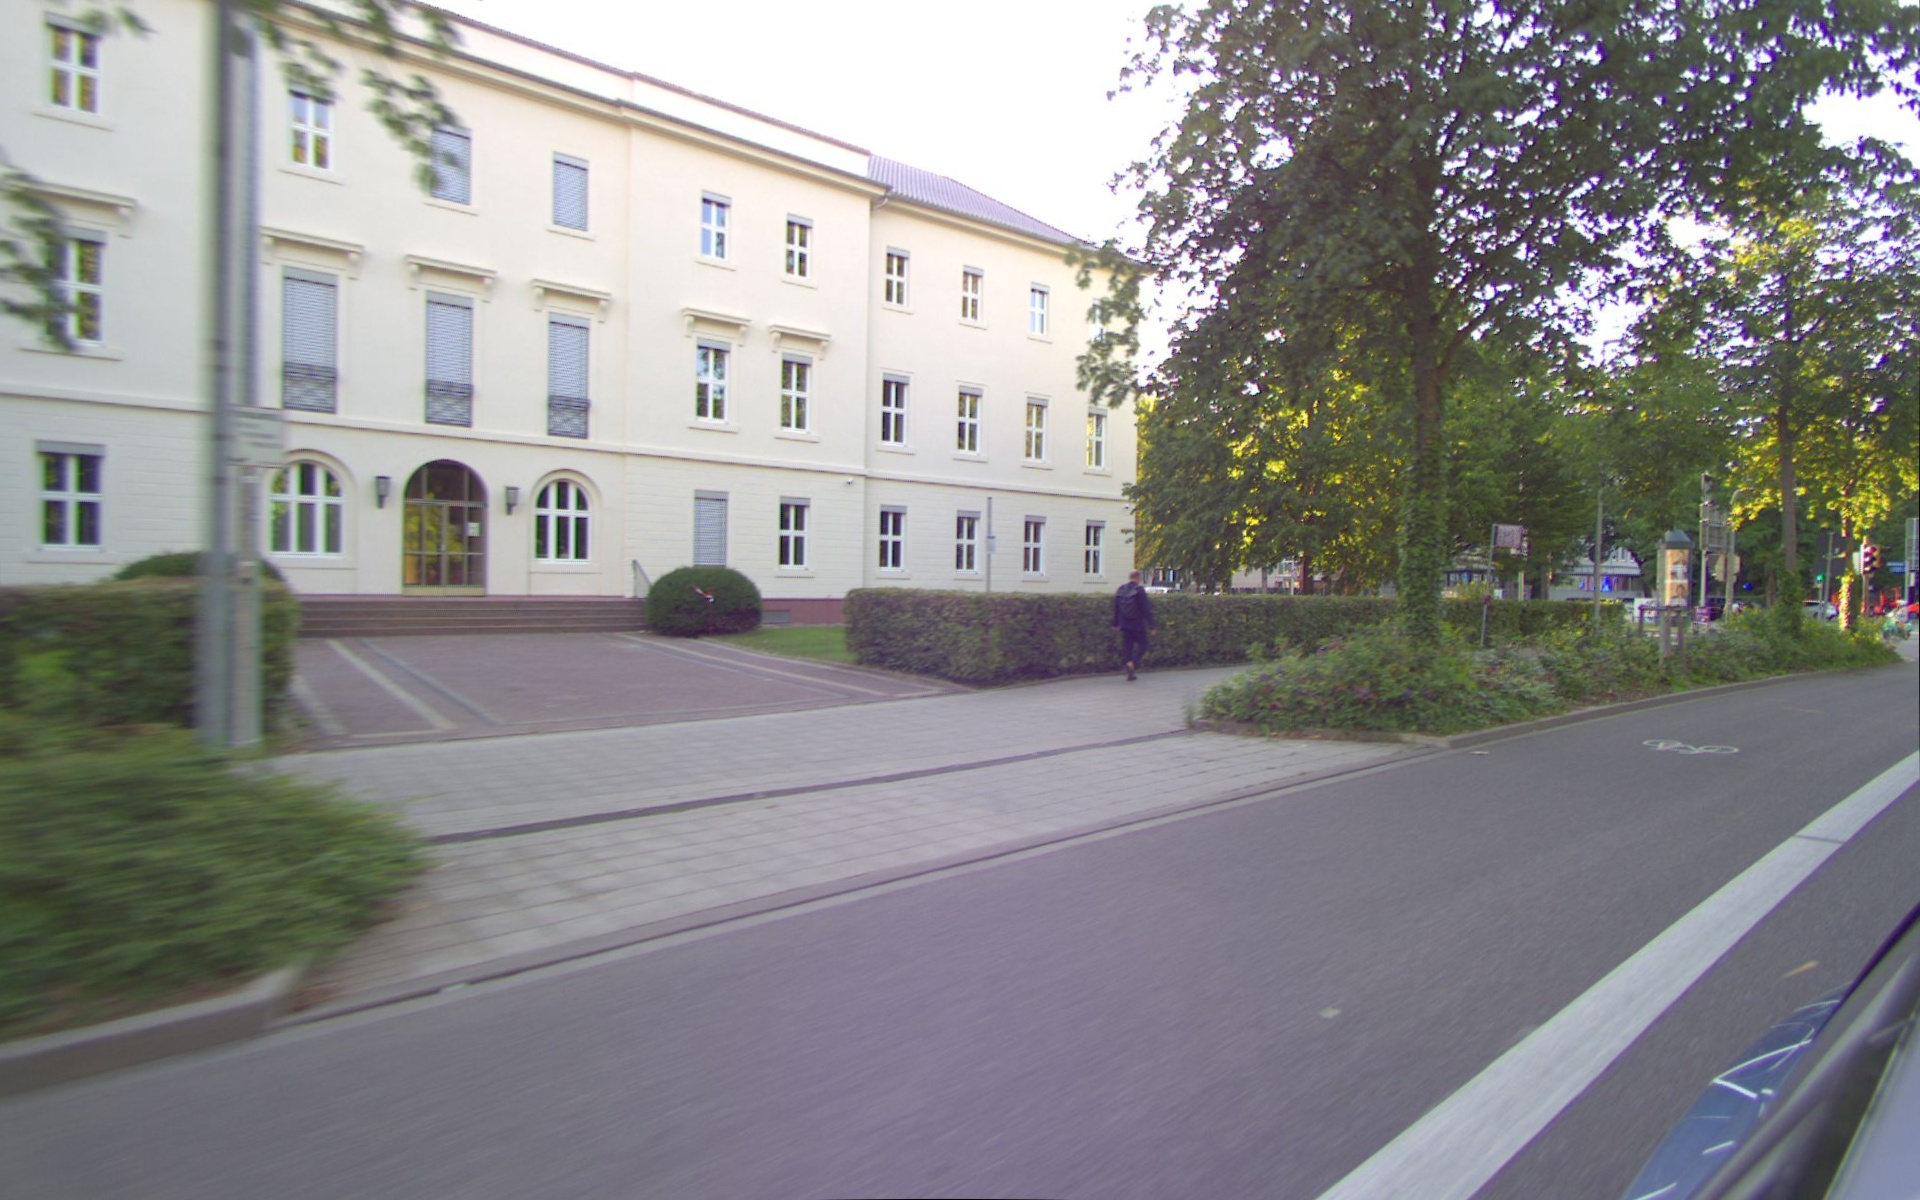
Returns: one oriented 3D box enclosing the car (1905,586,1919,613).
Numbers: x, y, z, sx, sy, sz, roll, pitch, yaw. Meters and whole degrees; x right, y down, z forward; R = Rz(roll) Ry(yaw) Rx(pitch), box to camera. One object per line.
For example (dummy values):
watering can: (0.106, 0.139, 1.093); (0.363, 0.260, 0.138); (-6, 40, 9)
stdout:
car: (87.794, -0.031, 89.957); (1.961, 2.422, 5.172); (0, 1, -33)

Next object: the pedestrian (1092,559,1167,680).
pedestrian: (2.542, 0.274, 15.178); (0.770, 1.760, 0.794); (1, 0, 45)

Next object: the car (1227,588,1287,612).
car: (21.412, -0.026, 72.981); (1.862, 1.660, 4.005); (0, 1, -28)

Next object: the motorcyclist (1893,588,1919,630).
motorcyclist: (40.579, 0.372, 43.279); (0.676, 1.759, 0.742); (1, -1, -18)

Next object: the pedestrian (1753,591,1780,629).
pedestrian: (35.035, 0.442, 43.960); (0.829, 1.643, 0.683); (1, 0, -36)

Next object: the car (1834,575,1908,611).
car: (86.471, -0.648, 96.063); (8.130, 3.284, 2.777); (0, 1, -29)

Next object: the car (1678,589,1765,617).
car: (50.677, 0.154, 67.411); (1.880, 1.762, 4.244); (0, 1, -30)

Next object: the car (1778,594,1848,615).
car: (63.466, 0.290, 75.316); (1.631, 1.477, 3.670); (0, 1, -31)

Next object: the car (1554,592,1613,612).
car: (49.512, 0.135, 80.380); (1.736, 1.477, 3.629); (0, 1, -34)

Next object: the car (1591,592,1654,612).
car: (54.257, 0.119, 82.964); (1.878, 1.540, 3.923); (0, 1, -27)

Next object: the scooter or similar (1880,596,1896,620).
scooter or similar: (51.856, 0.449, 56.546); (1.157, 1.288, 0.441); (0, 0, -36)

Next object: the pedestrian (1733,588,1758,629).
pedestrian: (34.605, 0.364, 44.582); (0.675, 1.776, 0.683); (1, 0, -36)

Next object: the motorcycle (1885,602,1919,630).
motorcycle: (40.576, 0.682, 43.269); (1.854, 1.213, 0.686); (0, 0, -18)

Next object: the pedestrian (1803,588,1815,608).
pedestrian: (83.762, -0.197, 99.846); (0.830, 1.865, 0.683); (1, 0, -35)
